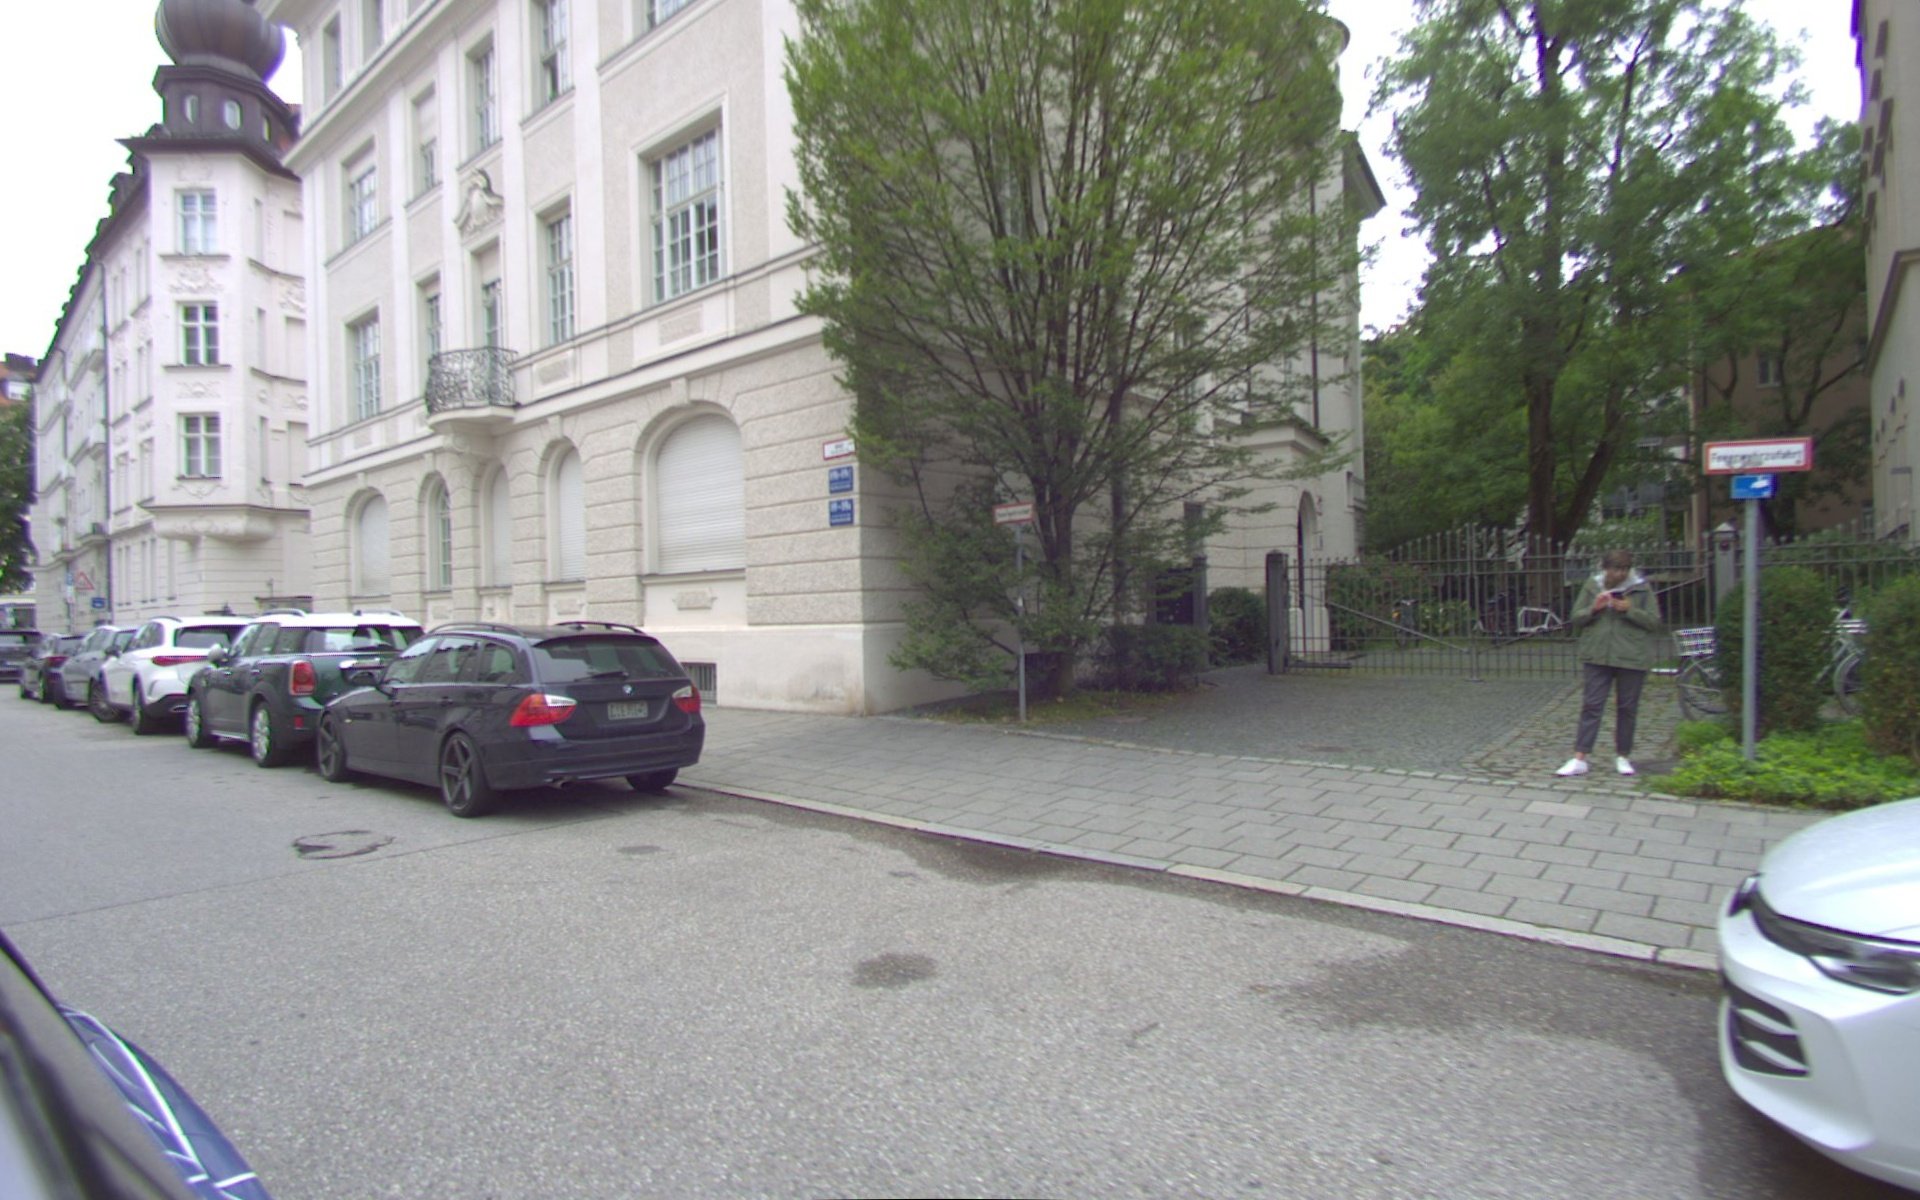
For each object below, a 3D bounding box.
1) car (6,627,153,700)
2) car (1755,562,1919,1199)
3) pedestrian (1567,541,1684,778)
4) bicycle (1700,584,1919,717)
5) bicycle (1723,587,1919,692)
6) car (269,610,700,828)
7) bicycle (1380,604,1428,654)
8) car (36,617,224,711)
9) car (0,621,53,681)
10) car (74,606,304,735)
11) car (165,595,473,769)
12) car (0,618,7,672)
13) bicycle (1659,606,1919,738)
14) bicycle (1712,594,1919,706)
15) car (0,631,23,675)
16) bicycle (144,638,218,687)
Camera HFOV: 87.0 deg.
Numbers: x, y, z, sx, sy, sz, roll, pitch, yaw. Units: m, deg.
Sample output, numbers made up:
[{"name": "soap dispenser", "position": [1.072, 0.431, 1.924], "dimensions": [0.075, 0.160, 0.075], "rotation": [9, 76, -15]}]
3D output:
[{"name": "car", "position": [-19.054, 1.327, 21.851], "dimensions": [4.276, 1.426, 1.774], "rotation": [-2, -3, 41]}, {"name": "car", "position": [4.033, 0.597, 1.652], "dimensions": [4.240, 1.445, 1.818], "rotation": [-2, -3, 39]}, {"name": "pedestrian", "position": [4.909, 0.416, 7.463], "dimensions": [0.630, 1.638, 0.667], "rotation": [-2, -1, 38]}, {"name": "bicycle", "position": [7.994, 0.473, 9.270], "dimensions": [1.819, 1.101, 0.606], "rotation": [-7, -2, 43]}, {"name": "bicycle", "position": [9.092, 0.422, 10.445], "dimensions": [1.832, 1.005, 0.547], "rotation": [-5, -3, 43]}, {"name": "car", "position": [-4.325, 0.877, 8.867], "dimensions": [4.364, 1.423, 1.769], "rotation": [-3, -1, 40]}, {"name": "bicycle", "position": [9.316, 0.596, 21.212], "dimensions": [0.475, 0.999, 1.420], "rotation": [-2, -1, 42]}, {"name": "car", "position": [-15.482, 1.145, 18.814], "dimensions": [4.251, 1.553, 1.766], "rotation": [-2, -3, 38]}, {"name": "car", "position": [-27.610, 1.455, 29.057], "dimensions": [4.117, 1.631, 1.709], "rotation": [-2, -3, 39]}, {"name": "car", "position": [-11.674, 0.980, 15.199], "dimensions": [4.569, 1.631, 1.895], "rotation": [-3, -1, 42]}, {"name": "car", "position": [-7.486, 0.842, 11.656], "dimensions": [4.241, 1.631, 1.818], "rotation": [-3, -1, 40]}, {"name": "car", "position": [-36.277, 1.648, 36.808], "dimensions": [4.760, 1.909, 1.817], "rotation": [-3, -3, 41]}, {"name": "bicycle", "position": [7.153, 0.605, 8.457], "dimensions": [2.009, 0.967, 0.686], "rotation": [-6, -1, 43]}, {"name": "bicycle", "position": [8.591, 0.489, 9.877], "dimensions": [1.907, 1.011, 0.578], "rotation": [-5, -2, 43]}, {"name": "car", "position": [-32.217, 1.735, 33.167], "dimensions": [4.243, 1.405, 1.817], "rotation": [-3, -3, 42]}, {"name": "bicycle", "position": [-22.539, 1.779, 29.250], "dimensions": [2.715, 1.251, 1.140], "rotation": [-2, 3, 42]}]
